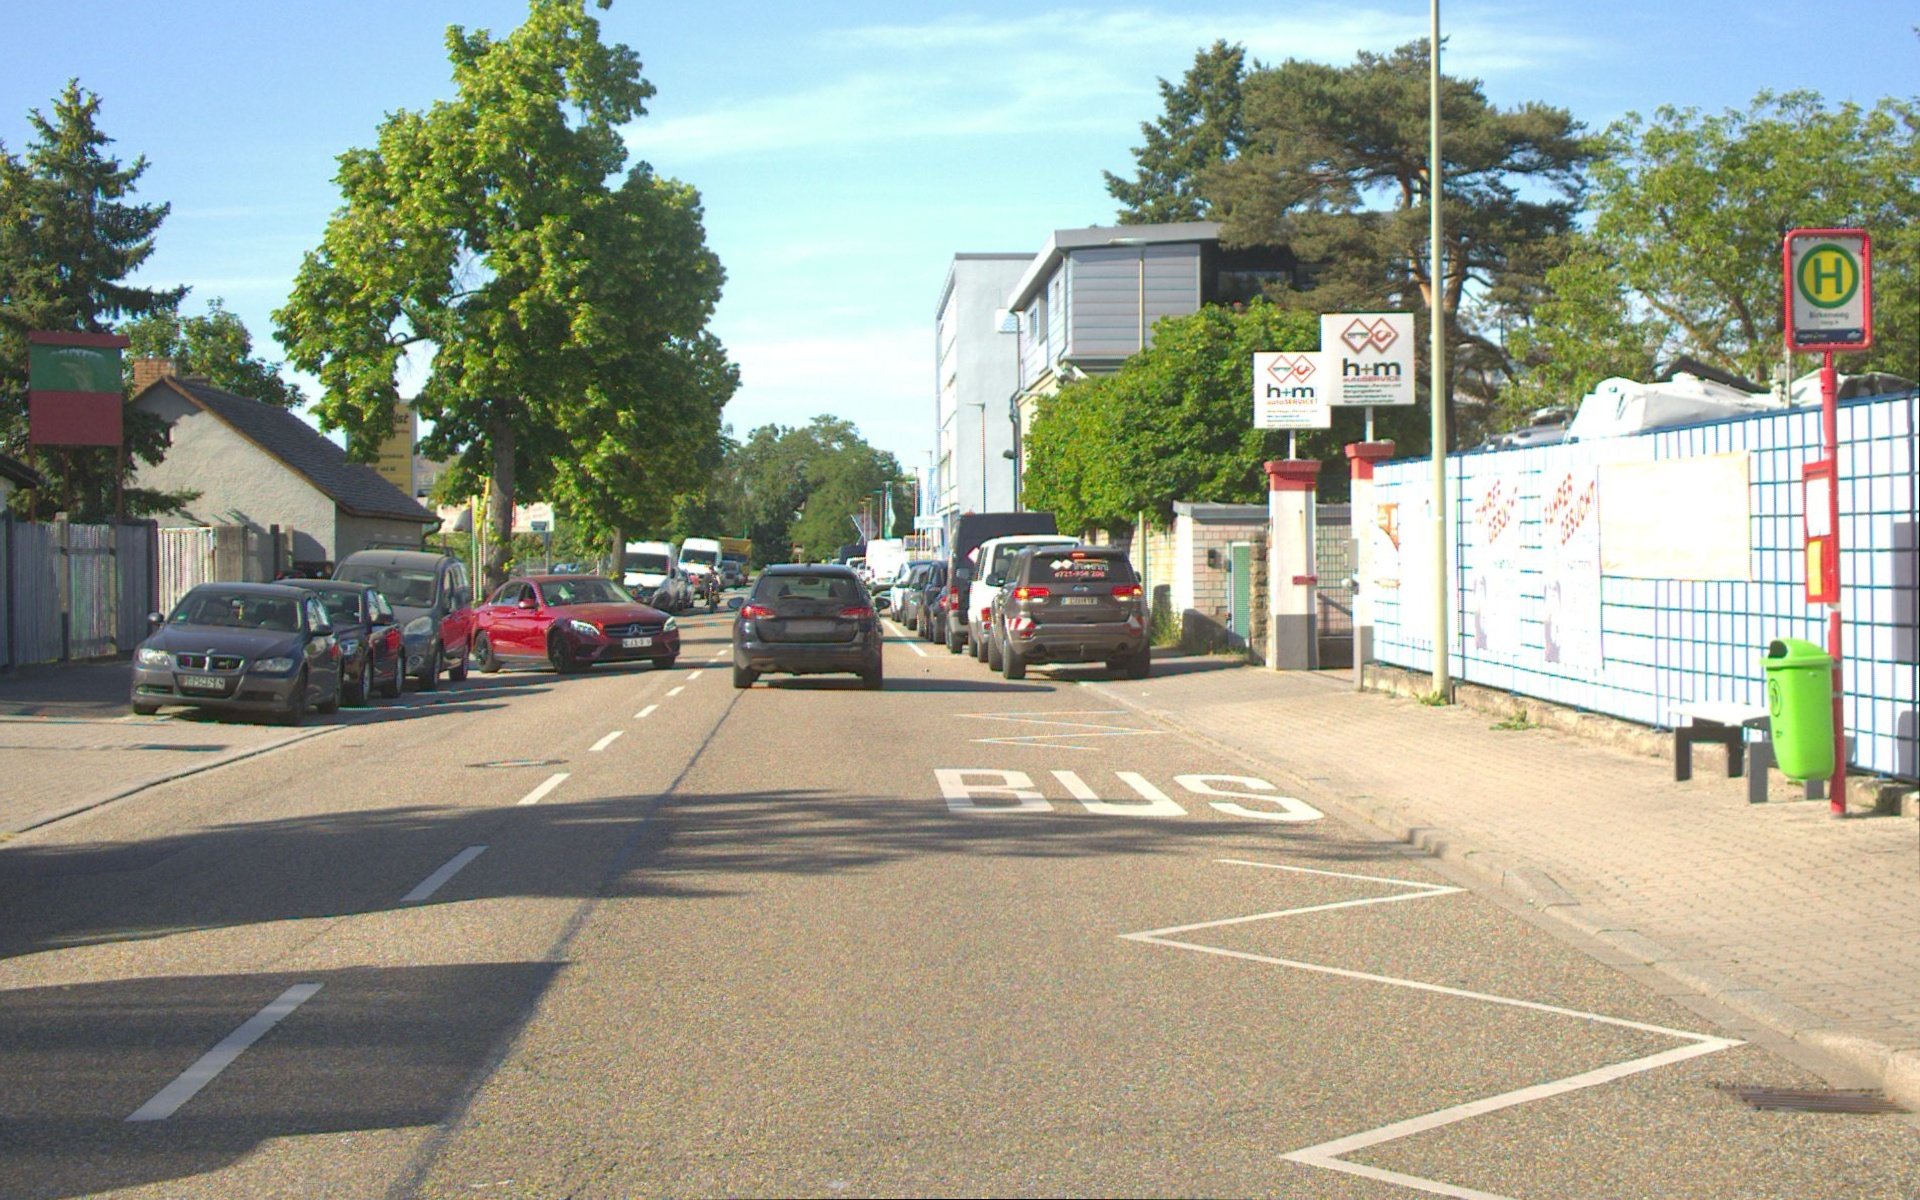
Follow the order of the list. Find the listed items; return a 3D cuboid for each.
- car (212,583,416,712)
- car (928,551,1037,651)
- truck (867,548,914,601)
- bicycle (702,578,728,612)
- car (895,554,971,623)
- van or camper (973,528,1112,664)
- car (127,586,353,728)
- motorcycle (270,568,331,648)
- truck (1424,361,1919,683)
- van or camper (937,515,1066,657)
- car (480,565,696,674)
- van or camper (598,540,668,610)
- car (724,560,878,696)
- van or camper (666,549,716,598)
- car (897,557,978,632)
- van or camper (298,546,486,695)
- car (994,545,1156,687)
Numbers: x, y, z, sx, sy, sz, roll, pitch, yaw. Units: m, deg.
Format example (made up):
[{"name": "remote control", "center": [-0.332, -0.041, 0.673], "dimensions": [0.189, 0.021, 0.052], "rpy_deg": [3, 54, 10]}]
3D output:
[{"name": "car", "center": [-7.863, 0.540, 42.187], "dimensions": [1.694, 1.464, 4.173], "rpy_deg": [0, 1, 0]}, {"name": "car", "center": [0.399, -0.004, 65.439], "dimensions": [1.919, 1.819, 4.080], "rpy_deg": [0, 1, -2]}, {"name": "truck", "center": [-3.115, -1.151, 152.112], "dimensions": [1.993, 2.280, 6.956], "rpy_deg": [0, 1, -2]}, {"name": "bicycle", "center": [-8.400, -0.178, 117.880], "dimensions": [0.829, 1.149, 2.941], "rpy_deg": [0, 1, -3]}, {"name": "car", "center": [-0.739, -0.324, 91.870], "dimensions": [1.919, 1.819, 4.080], "rpy_deg": [0, 1, -2]}, {"name": "van or camper", "center": [1.231, -0.076, 53.051], "dimensions": [1.919, 2.012, 4.080], "rpy_deg": [0, 1, -2]}, {"name": "car", "center": [-7.726, 0.570, 37.273], "dimensions": [1.756, 1.398, 4.558], "rpy_deg": [0, 1, -4]}, {"name": "motorcycle", "center": [-12.178, 0.130, 63.545], "dimensions": [0.777, 1.440, 2.038], "rpy_deg": [0, 1, -2]}, {"name": "truck", "center": [9.622, -0.943, 41.996], "dimensions": [7.372, 3.758, 2.833], "rpy_deg": [0, 1, -6]}, {"name": "van or camper", "center": [0.665, -0.257, 57.979], "dimensions": [1.993, 2.302, 4.000], "rpy_deg": [0, 1, -2]}, {"name": "car", "center": [-5.534, 0.249, 50.704], "dimensions": [1.875, 1.480, 4.045], "rpy_deg": [-2, 2, -26]}, {"name": "van or camper", "center": [-11.353, -0.869, 119.259], "dimensions": [2.323, 2.354, 6.529], "rpy_deg": [0, 1, -6]}, {"name": "car", "center": [-1.870, 0.300, 41.389], "dimensions": [1.711, 1.527, 3.688], "rpy_deg": [-1, 1, -1]}, {"name": "van or camper", "center": [-13.228, -1.309, 168.869], "dimensions": [2.323, 2.354, 6.529], "rpy_deg": [0, 1, -6]}, {"name": "car", "center": [-0.580, -0.149, 85.733], "dimensions": [1.919, 1.819, 4.080], "rpy_deg": [0, 1, -2]}, {"name": "van or camper", "center": [-7.720, 0.264, 47.108], "dimensions": [1.890, 1.919, 4.266], "rpy_deg": [-1, 0, -1]}, {"name": "car", "center": [1.496, 0.180, 46.329], "dimensions": [1.919, 1.819, 4.080], "rpy_deg": [0, 1, -2]}]
